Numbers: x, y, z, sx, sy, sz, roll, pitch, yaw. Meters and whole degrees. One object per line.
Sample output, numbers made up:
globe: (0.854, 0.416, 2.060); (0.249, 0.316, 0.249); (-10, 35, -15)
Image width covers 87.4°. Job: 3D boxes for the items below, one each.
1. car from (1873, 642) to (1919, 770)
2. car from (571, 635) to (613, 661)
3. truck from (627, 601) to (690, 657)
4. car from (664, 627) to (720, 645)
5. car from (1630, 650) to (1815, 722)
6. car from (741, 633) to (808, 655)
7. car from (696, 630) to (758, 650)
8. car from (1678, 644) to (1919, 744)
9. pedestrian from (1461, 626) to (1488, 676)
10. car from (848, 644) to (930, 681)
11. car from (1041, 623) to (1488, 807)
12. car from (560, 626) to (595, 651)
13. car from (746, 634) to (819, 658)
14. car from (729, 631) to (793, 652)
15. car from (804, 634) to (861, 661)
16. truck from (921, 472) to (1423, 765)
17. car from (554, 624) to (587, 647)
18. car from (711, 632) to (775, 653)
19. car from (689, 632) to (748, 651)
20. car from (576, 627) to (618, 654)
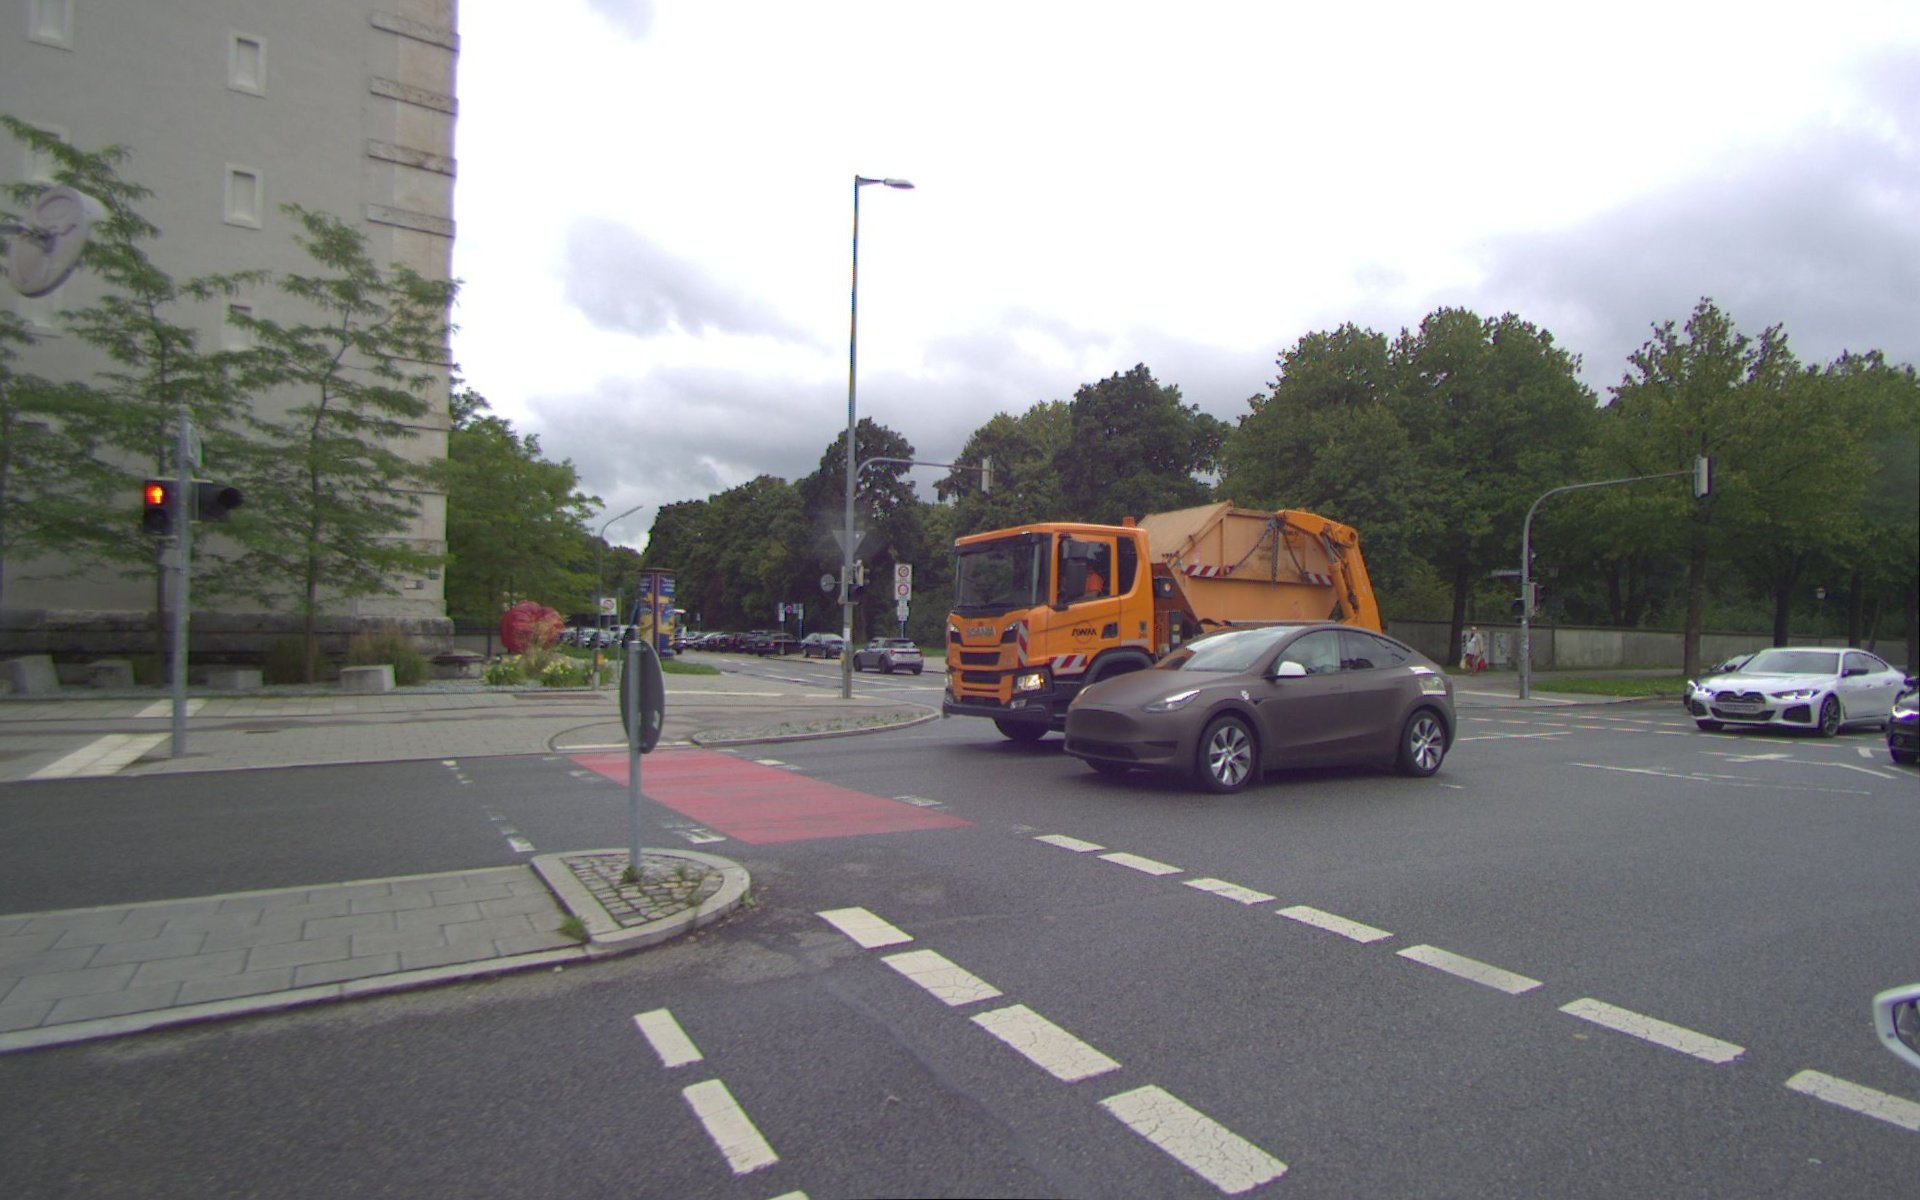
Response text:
car: (13.151, 1.311, 12.553); (3.739, 1.506, 1.631); (2, -2, -32)
car: (-24.457, 3.182, 66.690); (1.904, 1.612, 4.182); (2, -2, -30)
truck: (-20.285, 1.936, 67.329); (2.736, 3.534, 7.772); (2, -2, -26)
car: (-21.945, 2.938, 82.341); (1.894, 1.435, 4.205); (0, -2, 32)
car: (16.665, 1.829, 21.922); (4.165, 1.434, 1.716); (2, -3, -30)
car: (-12.577, 2.990, 68.263); (1.900, 1.435, 4.190); (0, -2, 44)
car: (-17.439, 3.025, 75.321); (1.900, 1.435, 4.190); (0, -2, 44)
car: (14.666, 1.567, 17.508); (4.686, 1.506, 1.719); (2, -2, -30)
pedestrian: (18.741, 1.850, 36.570); (0.512, 1.763, 0.703); (2, -1, -35)
car: (-2.992, 2.581, 41.716); (1.907, 1.481, 4.337); (2, -4, -26)
car: (3.307, 1.075, 10.614); (4.694, 1.562, 1.853); (2, -2, -30)
car: (-26.765, 2.679, 70.222); (1.974, 1.595, 3.974); (2, -2, -26)
car: (-11.329, 2.935, 64.225); (4.184, 1.435, 1.903); (2, -2, -42)
car: (-14.097, 2.965, 71.310); (1.900, 1.435, 4.190); (0, -2, 44)
car: (-7.380, 2.707, 57.877); (1.822, 1.435, 4.183); (2, -2, -29)
truck: (3.257, 0.340, 14.694); (7.181, 3.400, 2.767); (2, -1, -30)
car: (-29.204, 2.640, 75.304); (1.974, 1.595, 3.974); (2, -2, -26)
car: (-15.763, 3.060, 73.072); (1.900, 1.435, 4.190); (0, -2, 44)
car: (-18.707, 3.198, 77.806); (1.816, 1.435, 4.197); (0, -2, 39)
car: (-22.475, 2.485, 62.078); (1.974, 1.595, 3.974); (2, -2, -26)
